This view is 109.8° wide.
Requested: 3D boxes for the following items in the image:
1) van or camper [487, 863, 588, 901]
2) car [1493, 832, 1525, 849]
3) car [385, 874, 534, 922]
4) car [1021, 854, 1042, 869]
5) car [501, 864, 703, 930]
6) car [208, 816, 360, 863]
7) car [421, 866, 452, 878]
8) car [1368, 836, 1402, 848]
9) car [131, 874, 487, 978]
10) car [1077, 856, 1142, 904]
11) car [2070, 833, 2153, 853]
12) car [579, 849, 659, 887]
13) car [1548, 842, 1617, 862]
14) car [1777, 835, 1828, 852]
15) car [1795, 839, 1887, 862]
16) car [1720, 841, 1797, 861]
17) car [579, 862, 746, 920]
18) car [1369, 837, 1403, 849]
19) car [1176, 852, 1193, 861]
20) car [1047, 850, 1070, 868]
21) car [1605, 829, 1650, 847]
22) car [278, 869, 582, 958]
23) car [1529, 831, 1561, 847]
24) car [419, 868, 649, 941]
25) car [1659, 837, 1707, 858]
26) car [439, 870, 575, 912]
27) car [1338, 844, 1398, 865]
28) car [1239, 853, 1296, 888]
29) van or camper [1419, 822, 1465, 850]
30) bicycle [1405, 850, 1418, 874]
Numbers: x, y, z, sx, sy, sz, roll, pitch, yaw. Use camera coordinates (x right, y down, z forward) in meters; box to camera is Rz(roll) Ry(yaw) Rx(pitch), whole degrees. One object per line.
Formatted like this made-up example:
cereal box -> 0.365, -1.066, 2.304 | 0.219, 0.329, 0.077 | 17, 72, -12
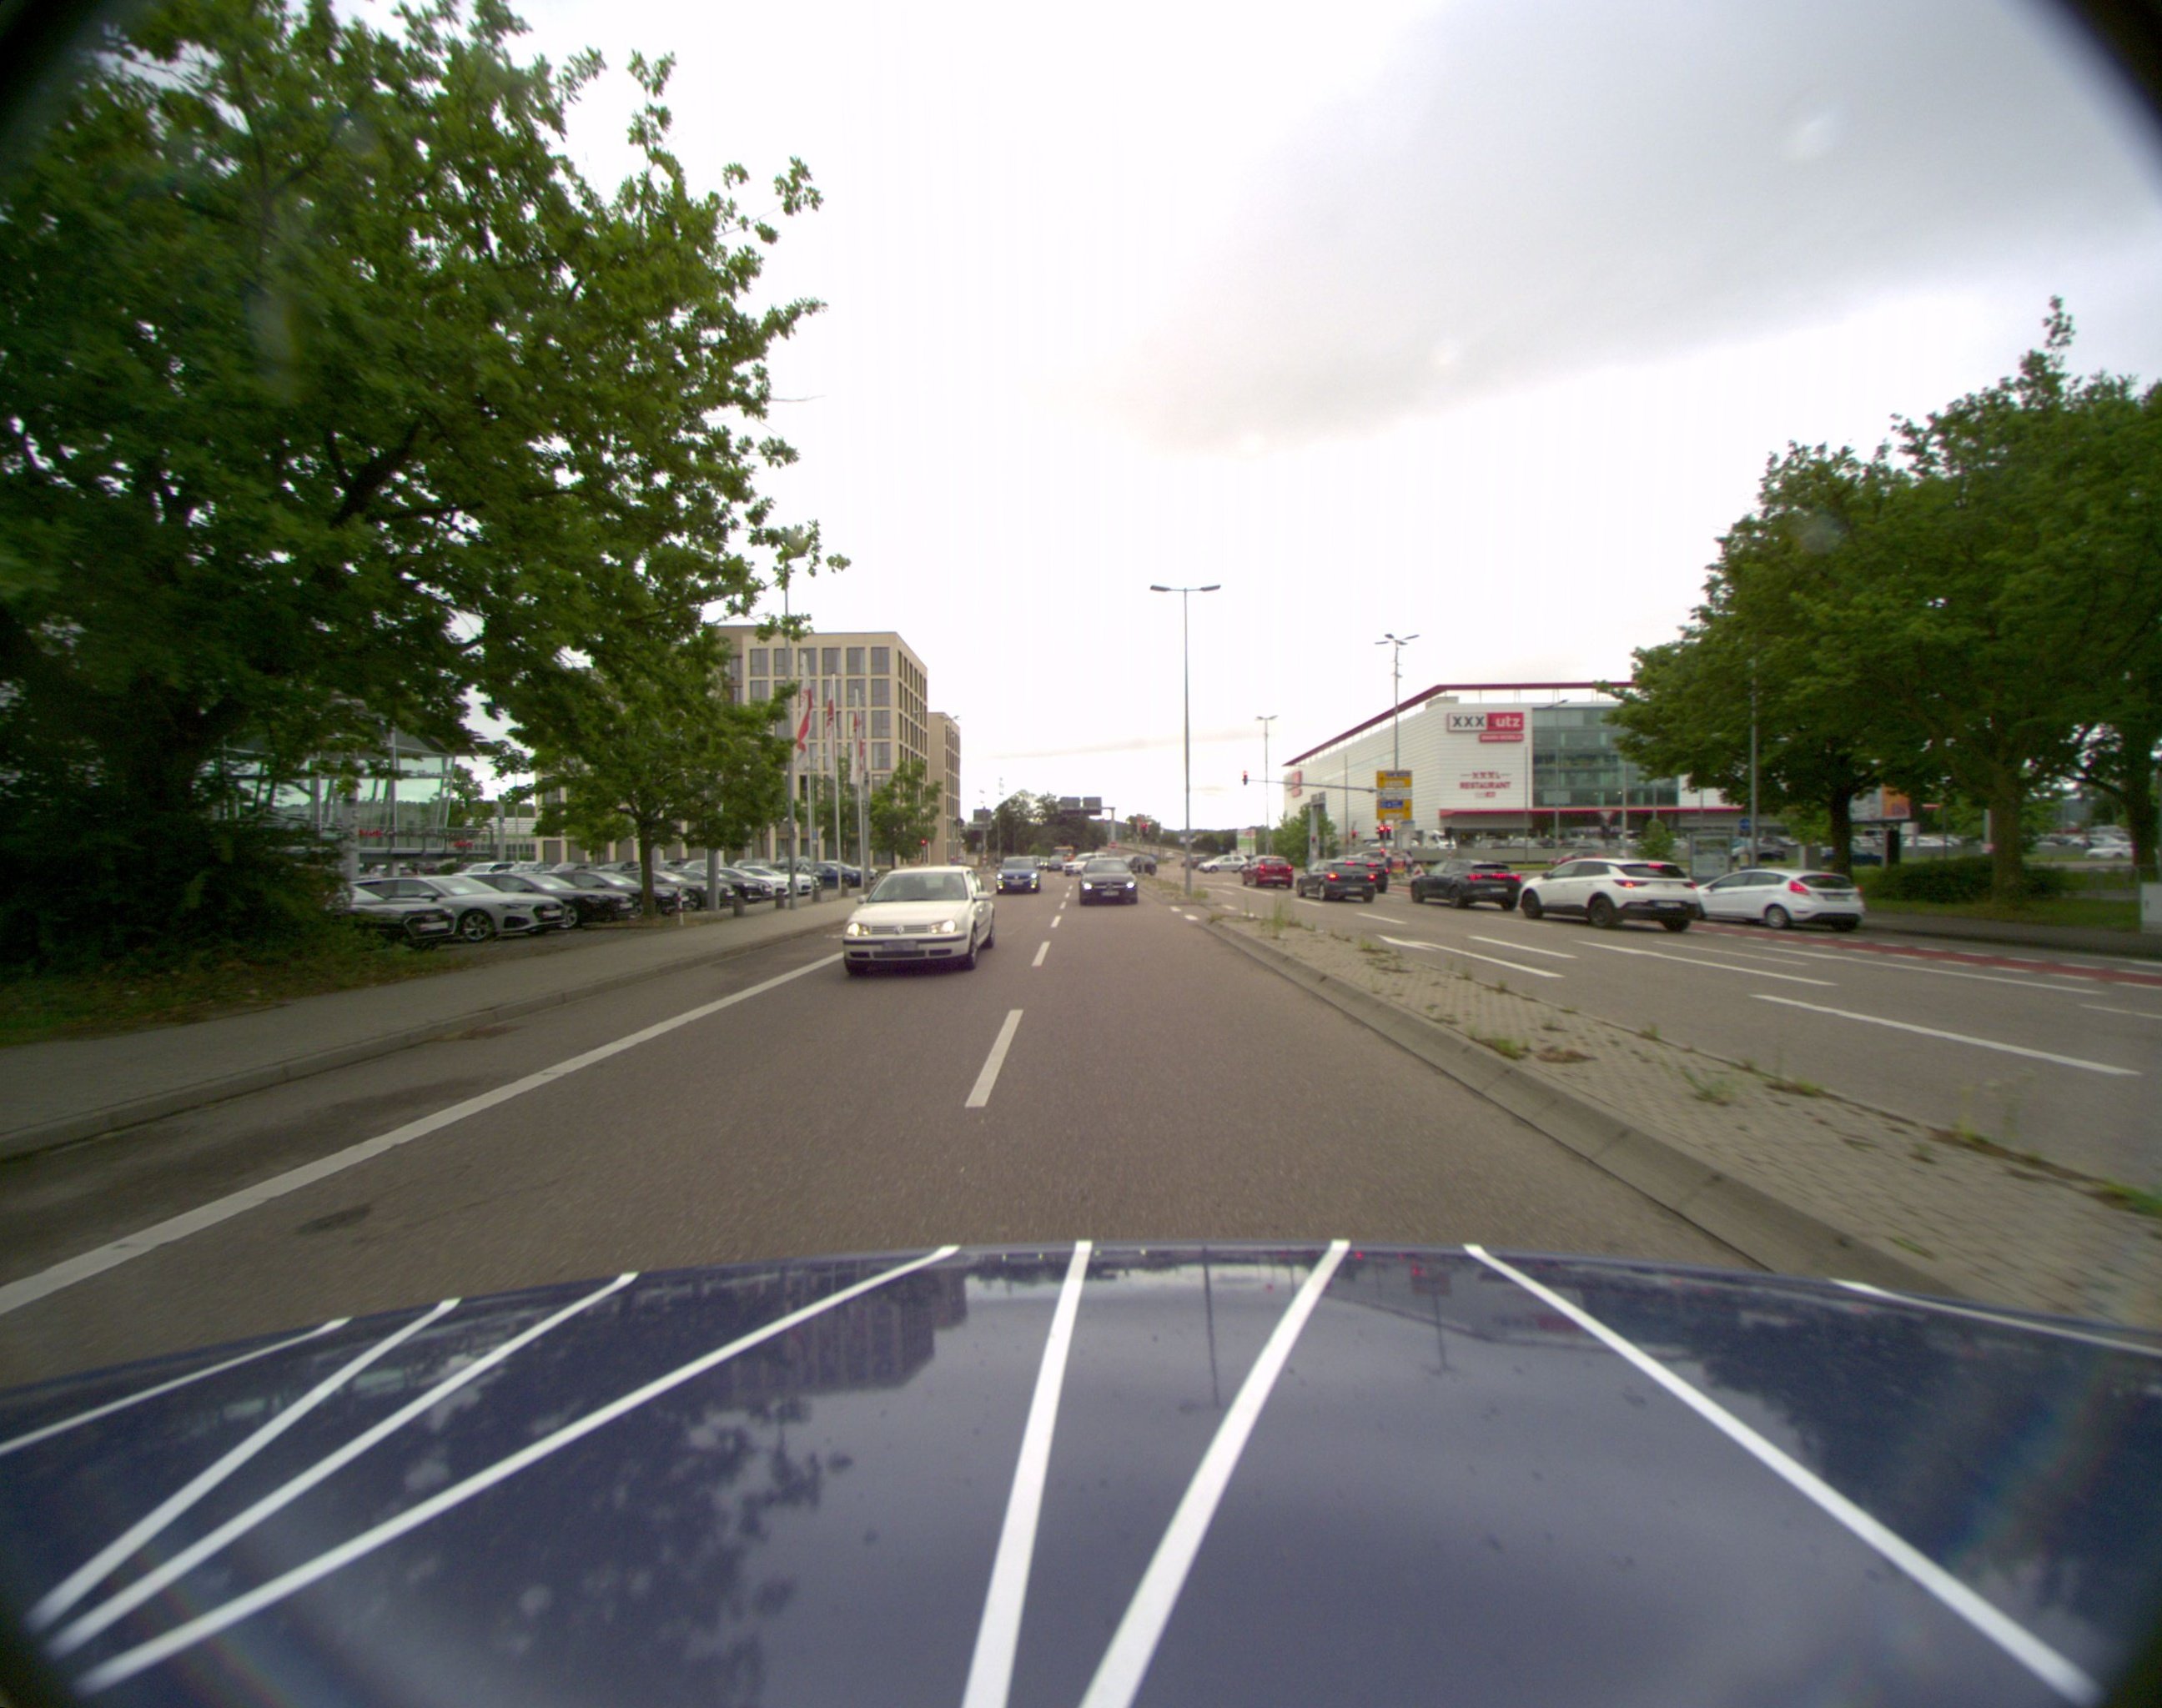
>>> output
van or camper -> -26.169, 1.340, 36.767 | 1.998, 1.667, 4.001 | -2, -1, 1
car -> 53.307, -1.682, 94.675 | 1.868, 1.936, 3.870 | -2, -1, 1
car -> -24.134, 1.691, 29.619 | 4.315, 1.685, 1.811 | -2, -1, 1
car -> -5.296, 0.835, 81.447 | 1.871, 1.481, 4.151 | -2, -1, 1
car -> -13.309, 1.163, 21.307 | 4.376, 1.462, 1.894 | -4, 0, 0
car -> -31.165, -0.556, 29.785 | 3.997, 1.652, 1.826 | -2, -1, -1
car -> -75.000, 2.082, 88.480 | 1.486, 1.324, 3.238 | -1, -1, -14
car -> 44.221, -1.740, 110.530 | 4.255, 1.665, 1.778 | -2, -1, 4
car -> -13.173, 1.190, 13.176 | 4.214, 1.412, 1.856 | -3, 0, 0
car -> 0.852, 0.816, 24.656 | 1.859, 1.426, 4.197 | 0, -1, -1
car -> 85.650, -0.909, 63.187 | 4.214, 1.407, 1.804 | -2, -1, 4
car -> -28.375, 0.808, 46.846 | 1.999, 2.002, 4.786 | -2, 2, -2
car -> 40.002, -0.144, 60.692 | 4.214, 1.407, 1.804 | -2, -1, 4
car -> 82.778, -1.195, 87.215 | 3.996, 1.783, 1.891 | -2, -1, 2
car -> 49.356, -0.225, 49.402 | 4.114, 1.479, 1.702 | 0, 1, 4
car -> 52.152, -0.228, 58.536 | 4.214, 1.407, 1.804 | -2, -1, 4
car -> -13.238, 1.140, 24.234 | 4.187, 1.477, 1.908 | -4, 0, 0
car -> 45.480, -1.634, 113.409 | 4.255, 1.665, 1.778 | -2, -1, 4
car -> 15.969, 0.370, 117.740 | 1.817, 1.402, 4.877 | 0, -1, -1
car -> -2.217, 0.533, 76.184 | 1.998, 1.758, 4.423 | -2, -1, 1
car -> 67.228, -1.921, 93.551 | 3.996, 2.001, 2.001 | -2, -1, 2
car -> -13.354, 1.182, 15.812 | 4.661, 1.463, 1.848 | -3, 0, 0
car -> 64.117, -2.019, 105.020 | 1.998, 2.001, 4.001 | -2, -1, 2
car -> -13.254, 1.191, 18.613 | 4.164, 1.382, 1.902 | -4, 0, 0
car -> 64.449, -0.688, 81.465 | 1.998, 2.001, 4.001 | -2, -1, 2
car -> -24.430, 1.553, 32.449 | 4.259, 1.477, 1.929 | -4, -1, 1
car -> 23.417, 0.052, 62.116 | 4.214, 1.564, 1.804 | -2, -1, 4
car -> 8.905, 0.768, 36.599 | 1.739, 1.479, 4.077 | 1, 2, 0
van or camper -> 45.516, -2.221, 95.938 | 2.712, 3.116, 7.240 | -2, -1, 4
bicycle -> 20.637, 0.484, 47.375 | 0.595, 1.388, 1.937 | 1, 2, 28
